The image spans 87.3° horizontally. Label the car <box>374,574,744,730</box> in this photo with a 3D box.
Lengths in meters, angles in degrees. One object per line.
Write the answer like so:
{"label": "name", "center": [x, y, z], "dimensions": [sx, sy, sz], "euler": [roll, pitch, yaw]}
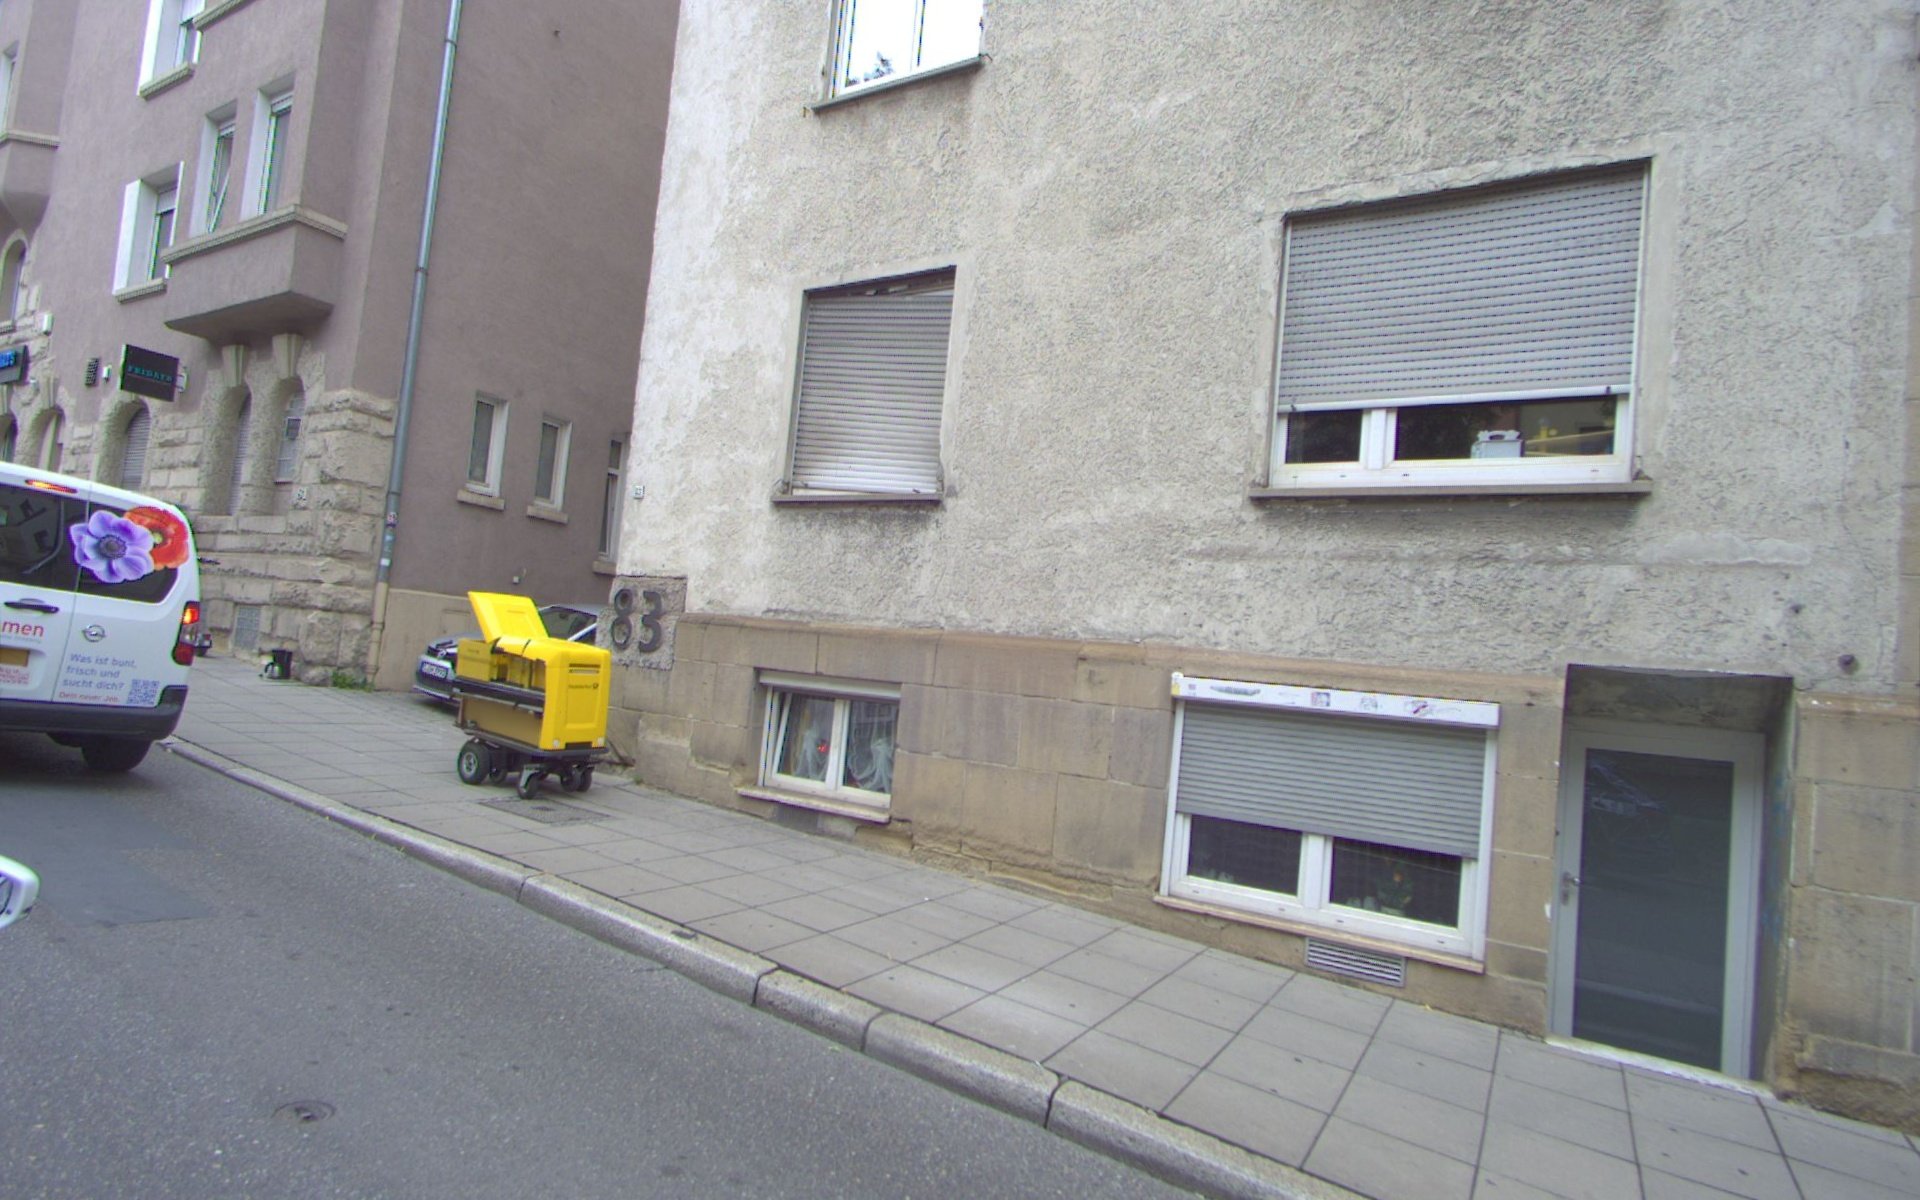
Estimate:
{"label": "car", "center": [-4.930, 0.762, 12.930], "dimensions": [1.770, 1.419, 3.997], "euler": [10, -2, 32]}

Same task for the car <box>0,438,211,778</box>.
{"label": "car", "center": [-7.285, -0.117, 6.916], "dimensions": [4.944, 1.844, 1.853], "euler": [5, -5, 36]}

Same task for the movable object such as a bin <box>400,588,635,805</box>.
{"label": "movable object such as a bin", "center": [-3.514, 0.721, 7.965], "dimensions": [1.665, 1.437, 0.721], "euler": [6, -2, 30]}
